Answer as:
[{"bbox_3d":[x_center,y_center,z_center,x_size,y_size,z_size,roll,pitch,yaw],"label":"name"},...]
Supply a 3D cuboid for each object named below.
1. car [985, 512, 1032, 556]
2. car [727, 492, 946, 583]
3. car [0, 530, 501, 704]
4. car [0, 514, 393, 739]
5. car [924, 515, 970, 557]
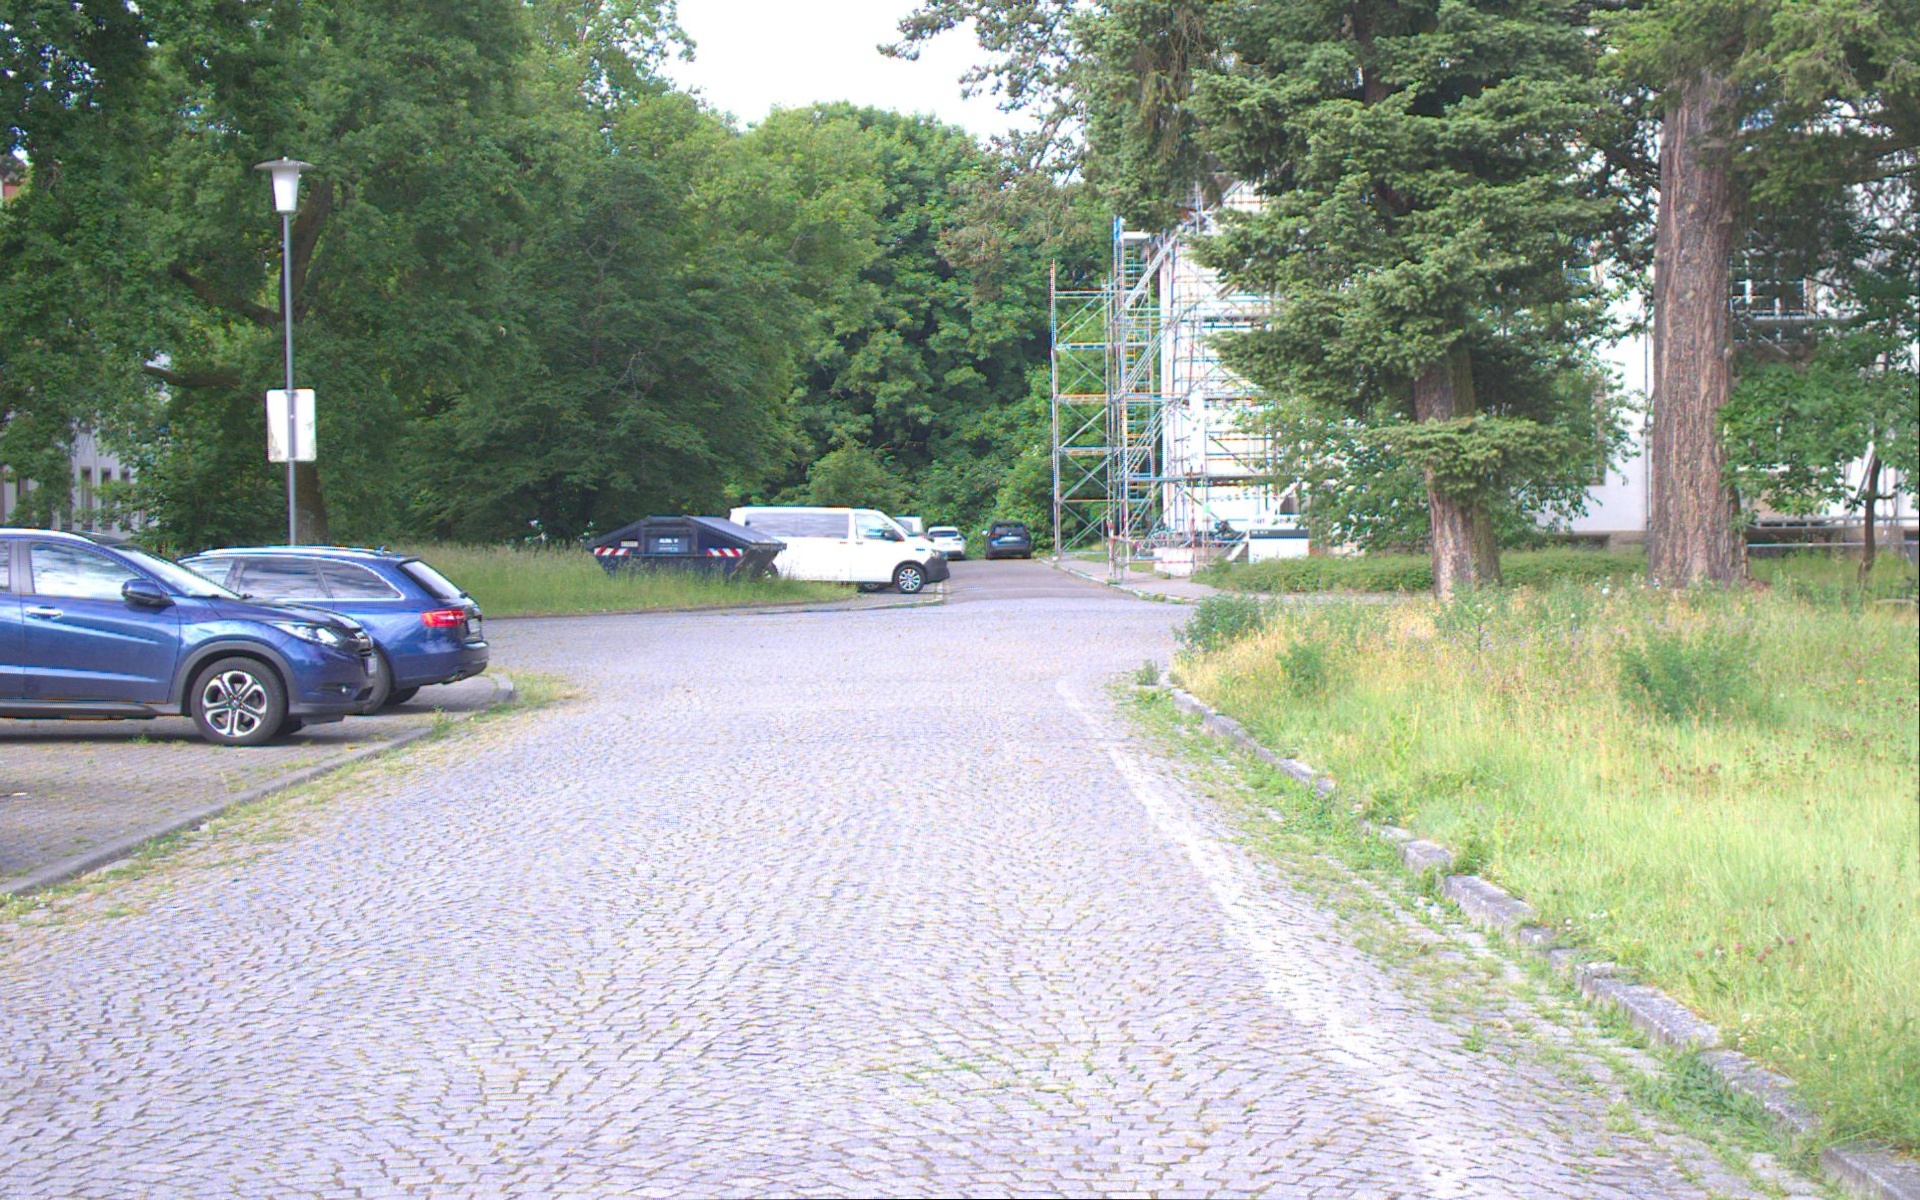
[{"bbox_3d":[2.057,-2.779,145.705,1.790,1.714,4.061,-1,0,-2],"label":"car"},{"bbox_3d":[-2.834,-1.424,79.357,4.978,2.065,2.052,0,0,-1],"label":"car"},{"bbox_3d":[-6.240,0.138,30.407,4.072,1.462,1.626,0,2,4],"label":"car"},{"bbox_3d":[-6.415,0.177,25.710,4.071,1.598,1.788,0,2,-1],"label":"car"},{"bbox_3d":[-0.565,-2.687,145.390,1.790,1.630,4.061,-1,0,-2],"label":"car"}]
